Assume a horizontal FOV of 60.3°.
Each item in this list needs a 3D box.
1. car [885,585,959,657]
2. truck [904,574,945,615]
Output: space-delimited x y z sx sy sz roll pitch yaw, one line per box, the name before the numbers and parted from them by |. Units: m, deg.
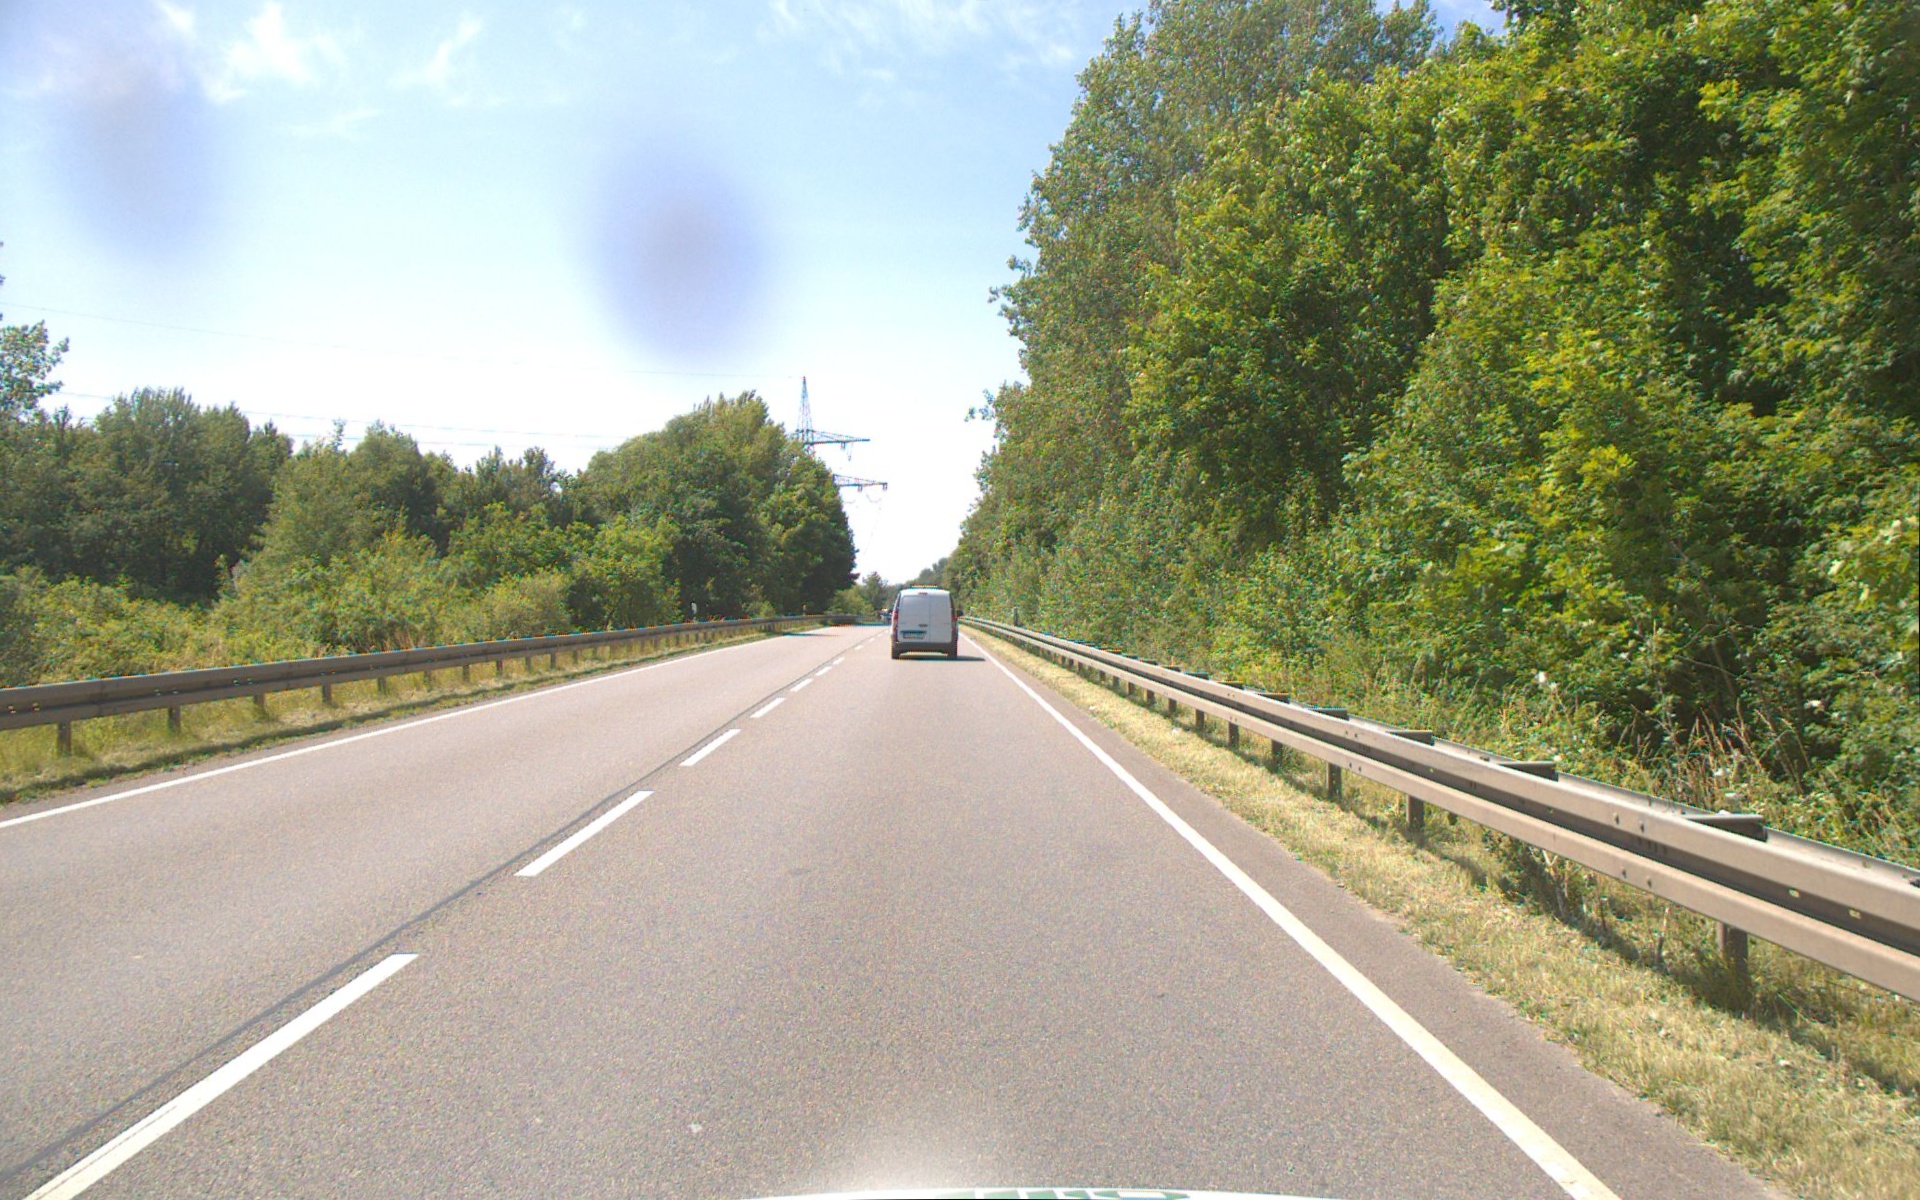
car | -1.012 0.528 43.778 1.837 1.772 3.999 1 0 -2
truck | -3.052 -0.505 142.060 3.230 3.227 14.400 2 0 -2
